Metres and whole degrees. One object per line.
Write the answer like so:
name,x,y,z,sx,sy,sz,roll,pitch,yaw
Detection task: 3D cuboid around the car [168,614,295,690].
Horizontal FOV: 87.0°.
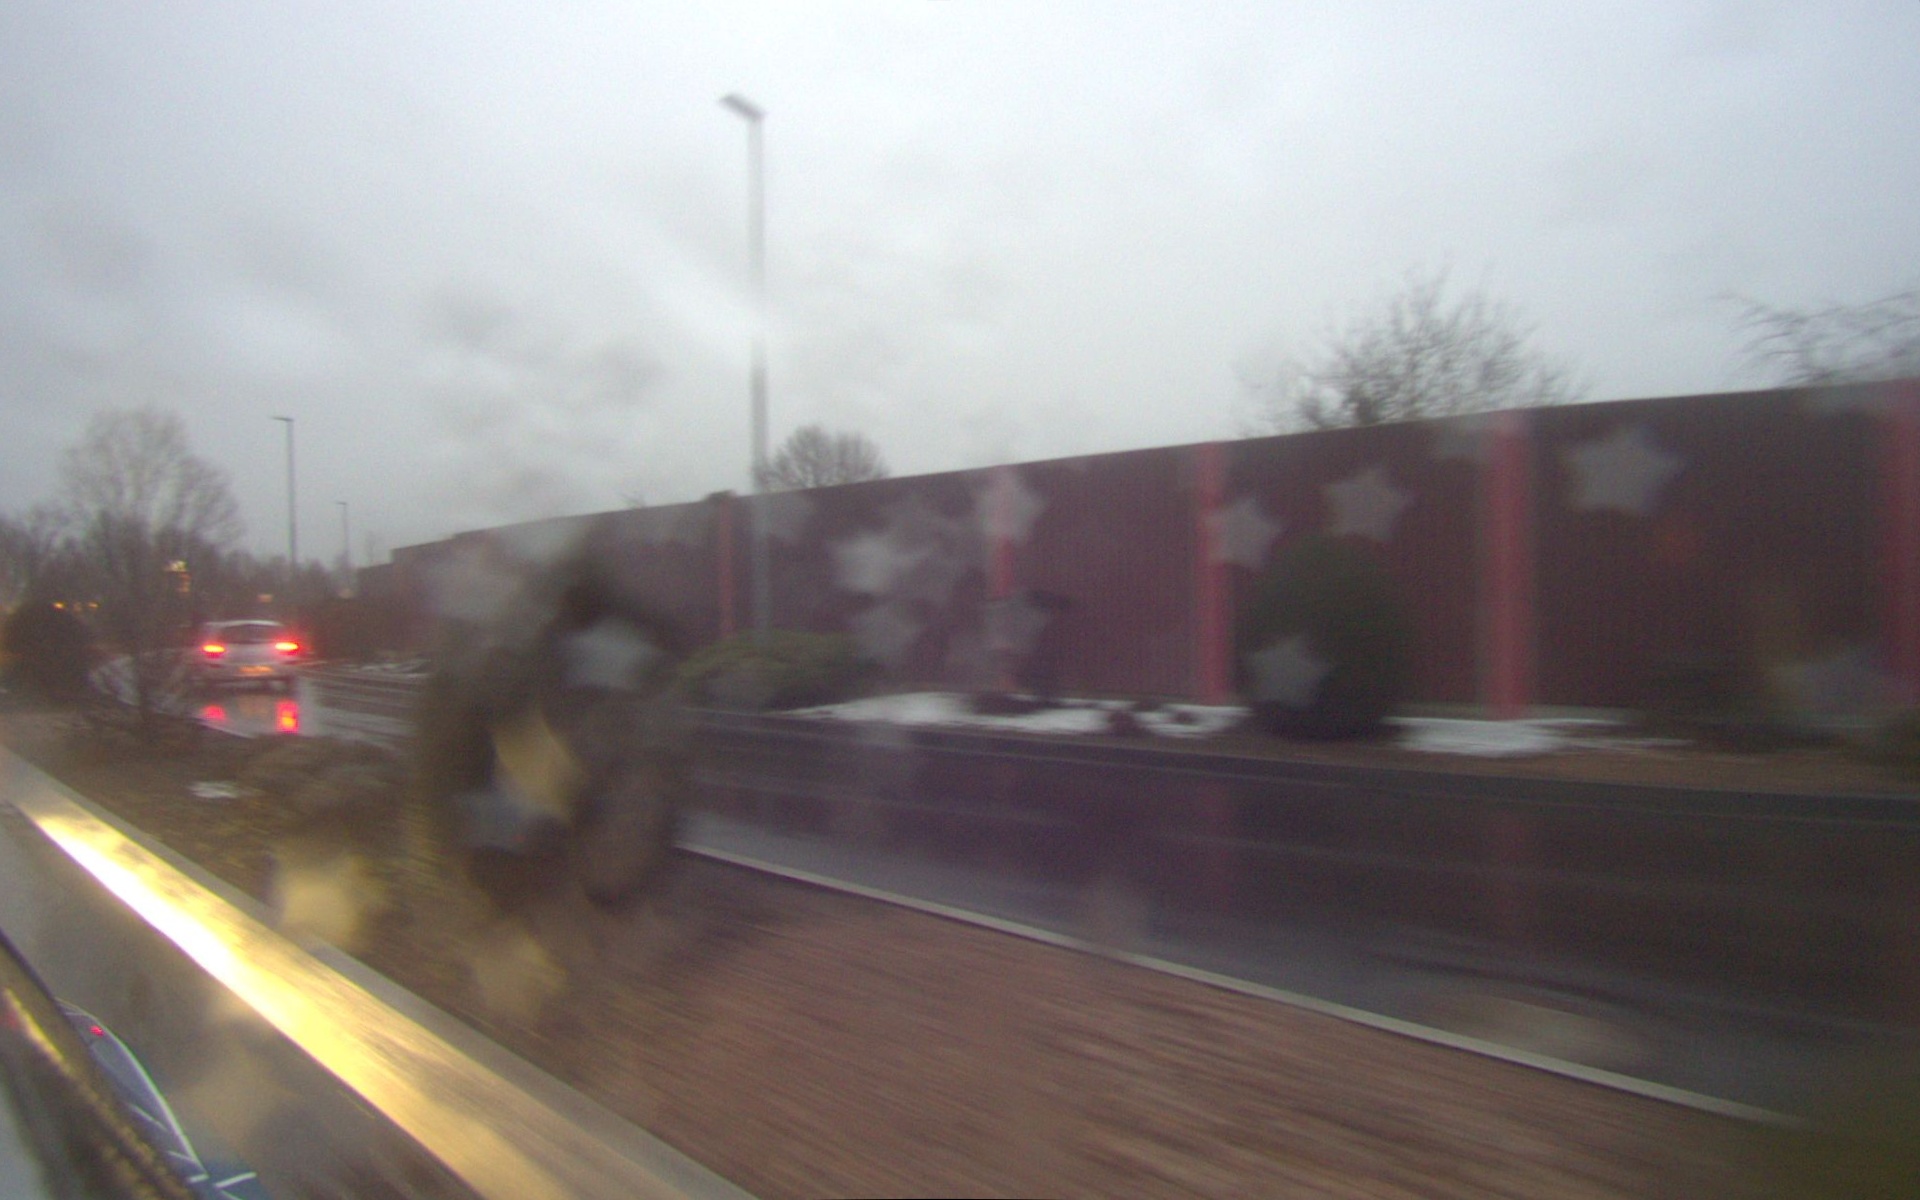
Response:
car,-15.863,1.076,21.979,3.686,1.480,1.589,-1,-1,44
